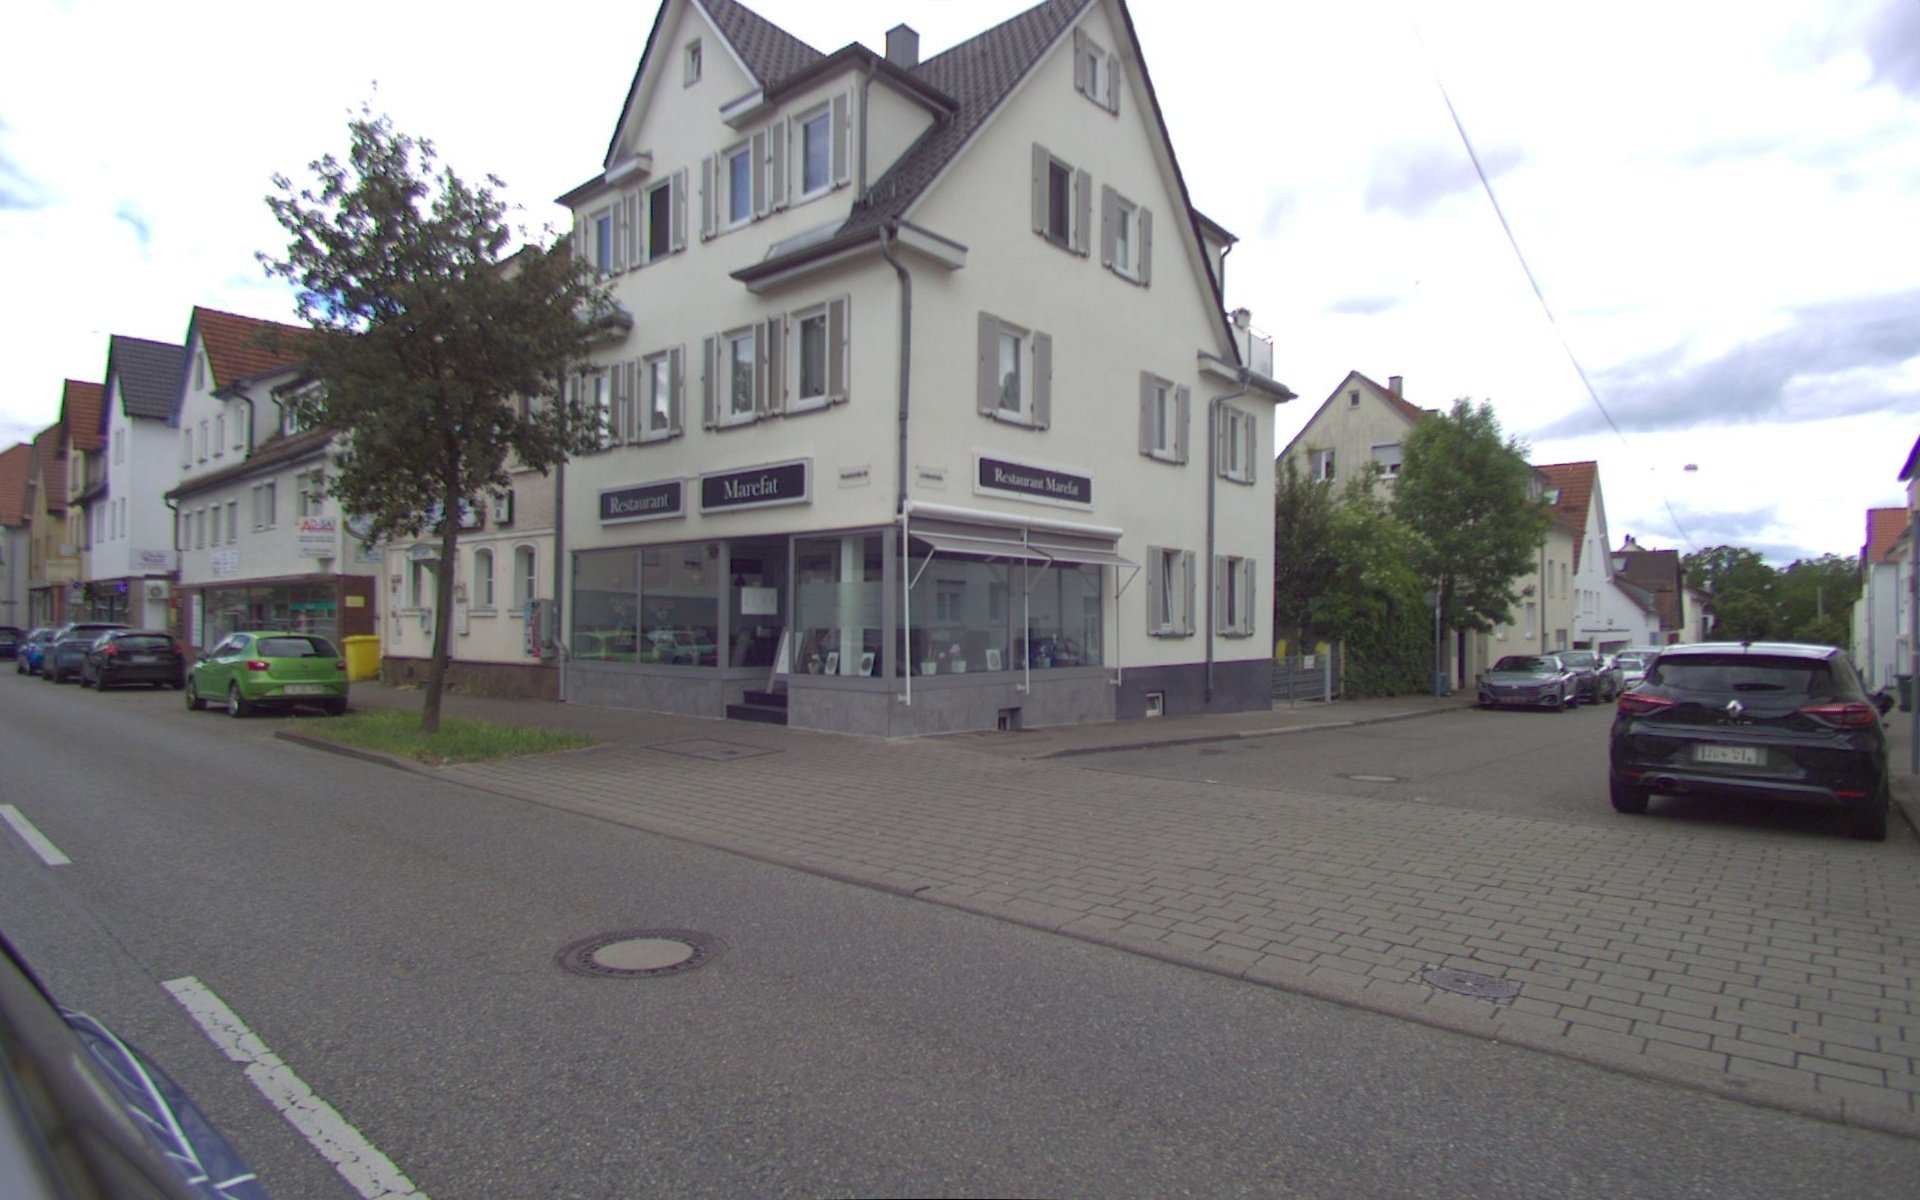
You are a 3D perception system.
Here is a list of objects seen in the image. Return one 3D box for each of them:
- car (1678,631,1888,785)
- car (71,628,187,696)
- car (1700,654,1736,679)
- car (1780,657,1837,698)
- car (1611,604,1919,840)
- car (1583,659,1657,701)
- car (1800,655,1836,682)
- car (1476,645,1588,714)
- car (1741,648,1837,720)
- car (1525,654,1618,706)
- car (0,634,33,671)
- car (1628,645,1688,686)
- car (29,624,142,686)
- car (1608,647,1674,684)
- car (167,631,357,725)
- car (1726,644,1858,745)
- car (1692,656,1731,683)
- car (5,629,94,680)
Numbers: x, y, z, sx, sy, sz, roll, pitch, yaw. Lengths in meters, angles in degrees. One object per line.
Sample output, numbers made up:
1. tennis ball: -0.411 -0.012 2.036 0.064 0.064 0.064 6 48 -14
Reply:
1. car: 9.611 1.203 11.958 1.668 1.497 3.666 -1 -5 38
2. car: -20.416 1.481 24.822 3.811 1.519 1.565 -1 -4 42
3. car: 49.803 4.379 66.469 1.669 1.589 3.663 -1 -4 41
4. car: 35.260 3.197 42.029 1.718 1.589 3.663 -1 -4 41
5. car: 6.873 0.927 8.753 1.733 1.546 3.948 -1 -4 38
6. car: 24.257 2.929 37.136 1.809 1.427 3.663 -1 -4 41
7. car: 53.721 4.309 63.342 1.669 1.589 3.663 -1 -4 41
8. car: 14.726 2.022 25.971 1.809 1.589 3.663 -1 -4 41
9. car: 20.207 2.029 24.630 1.669 1.589 3.663 -1 -4 41
10. car: 18.460 2.398 30.507 1.809 1.427 3.663 -1 -4 41
11. car: -40.572 2.186 42.755 3.590 1.504 1.664 -1 -3 42
12. car: 31.526 2.980 45.664 1.809 1.735 3.663 -1 -4 41
13. car: -24.380 1.485 28.161 4.303 1.611 1.784 -1 -3 42
14. car: 27.884 2.693 41.382 1.809 1.427 3.663 -1 -4 41
15. car: -12.440 1.307 17.957 4.015 1.458 1.666 -1 -3 39
16. car: 14.995 1.653 18.226 1.669 1.589 3.663 -1 -4 41
17. car: 46.169 4.284 62.155 1.669 1.589 3.663 -1 -4 41
18. car: -28.957 1.702 32.162 3.774 1.511 1.664 -1 -3 42
